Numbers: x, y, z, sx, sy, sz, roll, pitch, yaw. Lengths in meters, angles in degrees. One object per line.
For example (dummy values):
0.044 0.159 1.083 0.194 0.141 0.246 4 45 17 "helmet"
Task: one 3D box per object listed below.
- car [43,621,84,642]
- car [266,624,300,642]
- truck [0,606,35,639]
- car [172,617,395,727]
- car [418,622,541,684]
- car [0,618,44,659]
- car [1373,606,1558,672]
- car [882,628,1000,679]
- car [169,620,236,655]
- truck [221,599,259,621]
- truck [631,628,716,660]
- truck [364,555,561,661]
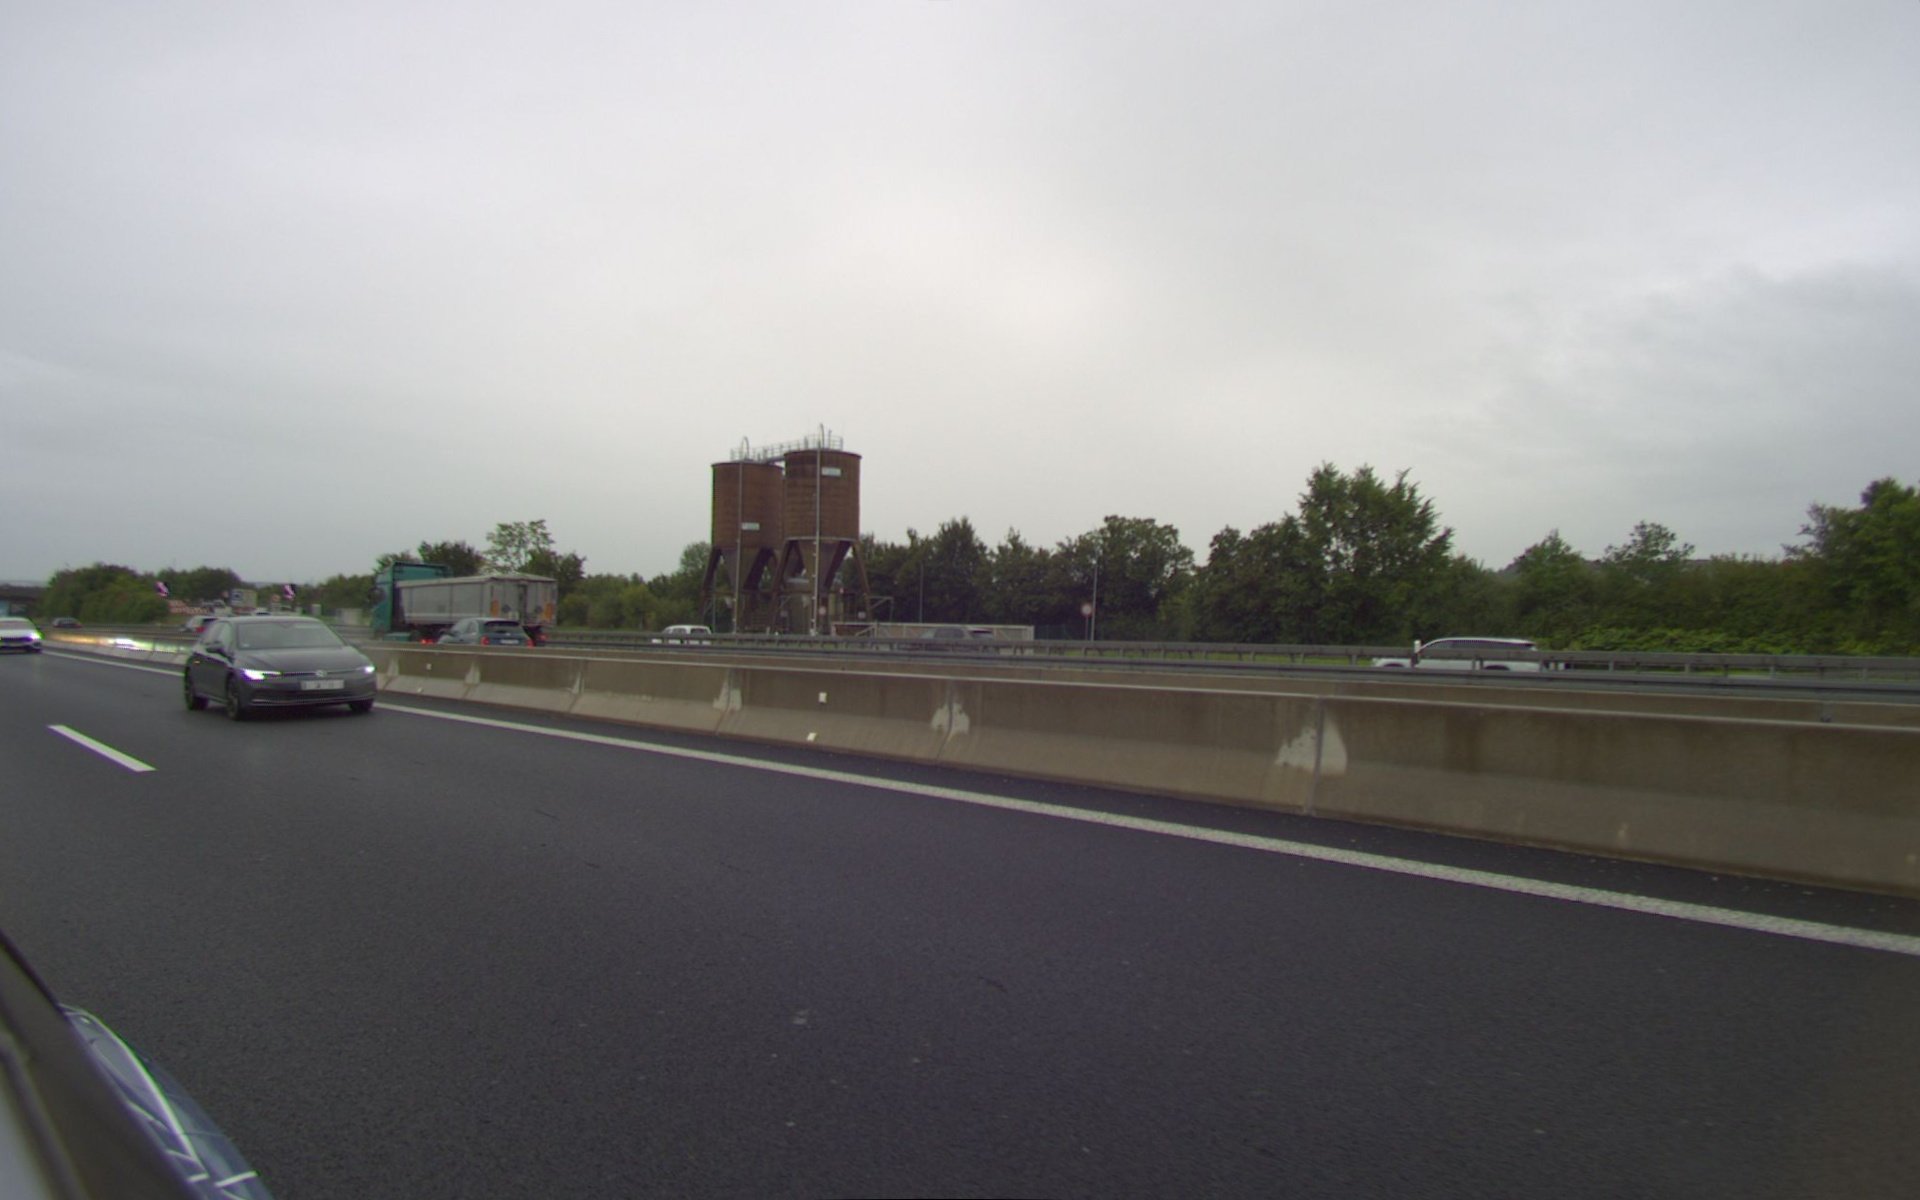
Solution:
-72.802 2.517 82.150 3.996 1.671 1.887 -1 -1 40 "car"
-76.964 3.757 115.004 4.547 2.029 2.049 -1 -2 40 "car"
-134.994 3.138 143.694 12.882 4.511 3.739 -1 -1 40 "truck"
-10.455 1.000 15.510 4.366 1.436 1.811 -1 -1 42 "car"
-13.582 1.425 28.525 3.998 1.608 1.695 -1 -1 41 "car"
-39.315 1.570 41.634 4.816 1.603 1.972 -1 -1 43 "car"
14.751 1.119 29.690 4.503 1.775 1.972 -1 -2 42 "car"
-0.772 2.010 38.962 4.459 1.822 1.883 -1 -1 41 "car"
-37.503 1.841 50.078 3.996 1.644 1.762 -1 -2 40 "car"
-108.546 1.470 152.560 7.603 3.241 3.210 -1 -1 43 "truck"
-16.458 2.492 57.969 5.401 1.657 1.973 -1 0 40 "truck"
-20.287 0.313 40.681 11.907 3.738 2.937 -1 0 42 "truck"
